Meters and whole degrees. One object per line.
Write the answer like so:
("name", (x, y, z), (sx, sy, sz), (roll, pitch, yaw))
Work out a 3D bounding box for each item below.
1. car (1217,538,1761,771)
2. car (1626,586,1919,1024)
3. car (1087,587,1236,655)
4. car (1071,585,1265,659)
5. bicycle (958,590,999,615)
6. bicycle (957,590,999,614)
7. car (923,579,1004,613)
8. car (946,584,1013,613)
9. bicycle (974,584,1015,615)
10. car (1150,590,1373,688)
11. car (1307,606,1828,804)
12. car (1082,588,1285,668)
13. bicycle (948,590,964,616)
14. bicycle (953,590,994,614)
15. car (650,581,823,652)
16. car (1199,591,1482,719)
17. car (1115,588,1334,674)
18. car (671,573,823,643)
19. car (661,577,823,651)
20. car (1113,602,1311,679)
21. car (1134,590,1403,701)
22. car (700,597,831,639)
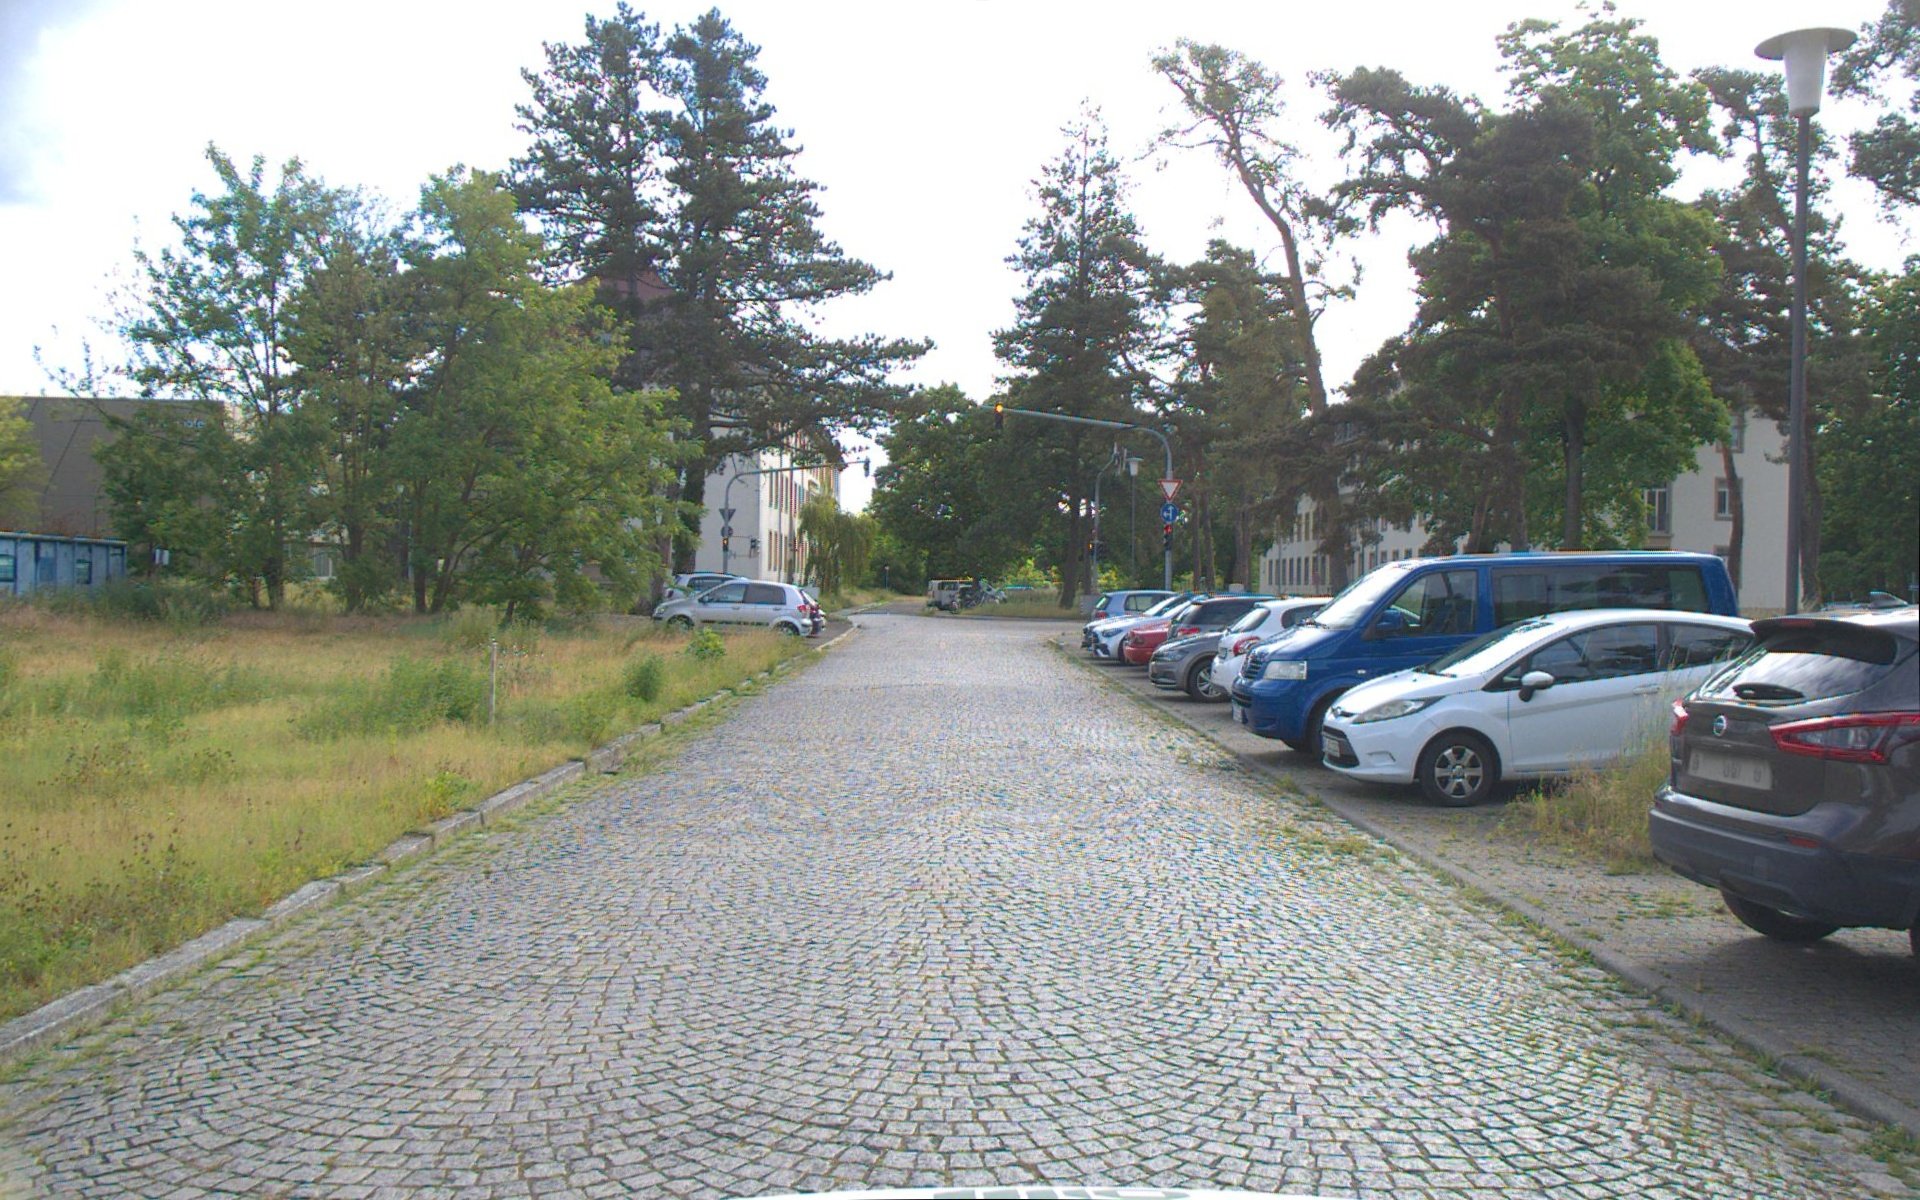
("car", (4.986, 0.495, 15.970), (4.687, 2.075, 1.737), (1, 1, -3))
("car", (5.140, 0.787, 7.062), (3.871, 1.608, 1.761), (1, 0, -3))
("car", (4.835, 0.497, 39.803), (3.324, 1.570, 1.389), (1, 1, -7))
("car", (4.643, 0.489, 37.229), (4.044, 1.570, 1.662), (1, 1, -7))
("bicycle", (0.981, 0.108, 88.716), (2.119, 1.290, 0.811), (1, 0, -7))
("bicycle", (0.970, 0.110, 89.303), (2.119, 1.290, 0.811), (1, 0, -7))
("car", (0.213, -0.255, 106.527), (4.960, 2.049, 1.995), (1, 0, -11))
("car", (1.196, -0.096, 103.266), (3.911, 1.673, 1.997), (1, 0, -7))
("bicycle", (1.877, -0.031, 90.028), (2.119, 1.644, 0.811), (1, 0, -7))
("car", (4.929, 0.627, 27.224), (3.234, 1.530, 1.659), (1, 1, -12))
("car", (4.850, 0.803, 13.507), (3.648, 1.449, 1.653), (-1, 0, -4))
("car", (4.625, 0.571, 34.476), (3.910, 1.570, 1.662), (1, 1, -7))
("bicycle", (-0.204, 0.150, 84.937), (0.793, 1.290, 1.973), (1, 0, 0))
("bicycle", (0.723, 0.107, 90.513), (2.119, 1.290, 0.811), (1, 0, -7))
("car", (-5.216, 0.365, 38.822), (3.911, 1.579, 1.997), (1, 1, -7))
("car", (4.857, 0.682, 21.396), (3.226, 1.531, 1.663), (1, 1, -3))
("car", (5.107, 0.586, 32.189), (3.910, 1.570, 1.662), (1, 0, -7))
("car", (-5.697, 0.205, 44.347), (3.912, 1.780, 1.924), (1, 0, -8))
("car", (-5.410, 0.335, 41.307), (3.911, 1.735, 1.997), (1, 1, -7))
("car", (4.522, 0.721, 29.932), (3.229, 1.289, 1.662), (1, 1, -7))
("car", (4.501, 0.654, 24.338), (3.534, 1.533, 1.659), (1, 1, -12))
("car", (-5.463, 0.497, 46.604), (3.601, 1.113, 1.644), (1, 1, -7))
